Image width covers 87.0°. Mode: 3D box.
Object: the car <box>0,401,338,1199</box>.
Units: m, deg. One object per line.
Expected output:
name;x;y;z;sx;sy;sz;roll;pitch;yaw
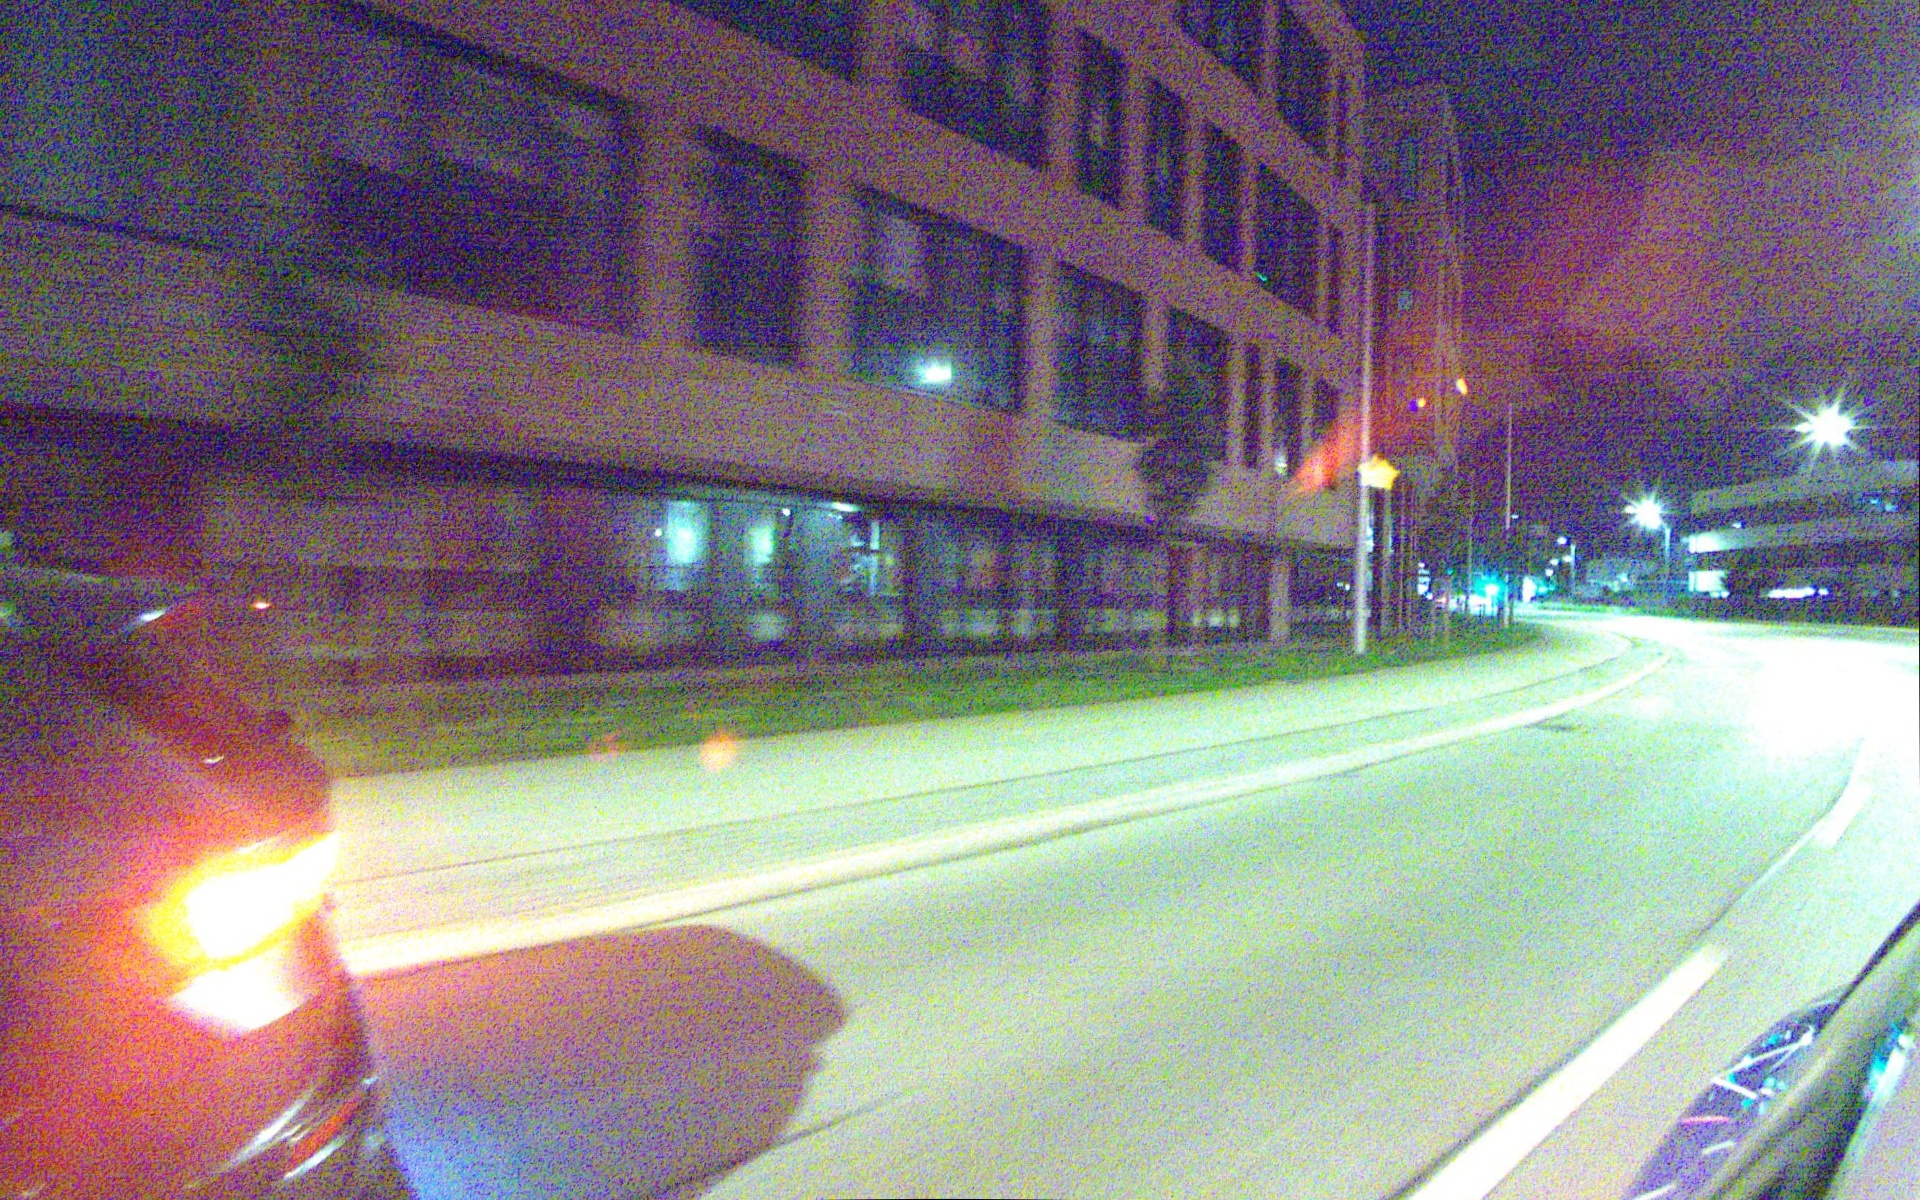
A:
car;-3.094;0.569;0.899;4.154;1.631;1.673;-1;0;-40
